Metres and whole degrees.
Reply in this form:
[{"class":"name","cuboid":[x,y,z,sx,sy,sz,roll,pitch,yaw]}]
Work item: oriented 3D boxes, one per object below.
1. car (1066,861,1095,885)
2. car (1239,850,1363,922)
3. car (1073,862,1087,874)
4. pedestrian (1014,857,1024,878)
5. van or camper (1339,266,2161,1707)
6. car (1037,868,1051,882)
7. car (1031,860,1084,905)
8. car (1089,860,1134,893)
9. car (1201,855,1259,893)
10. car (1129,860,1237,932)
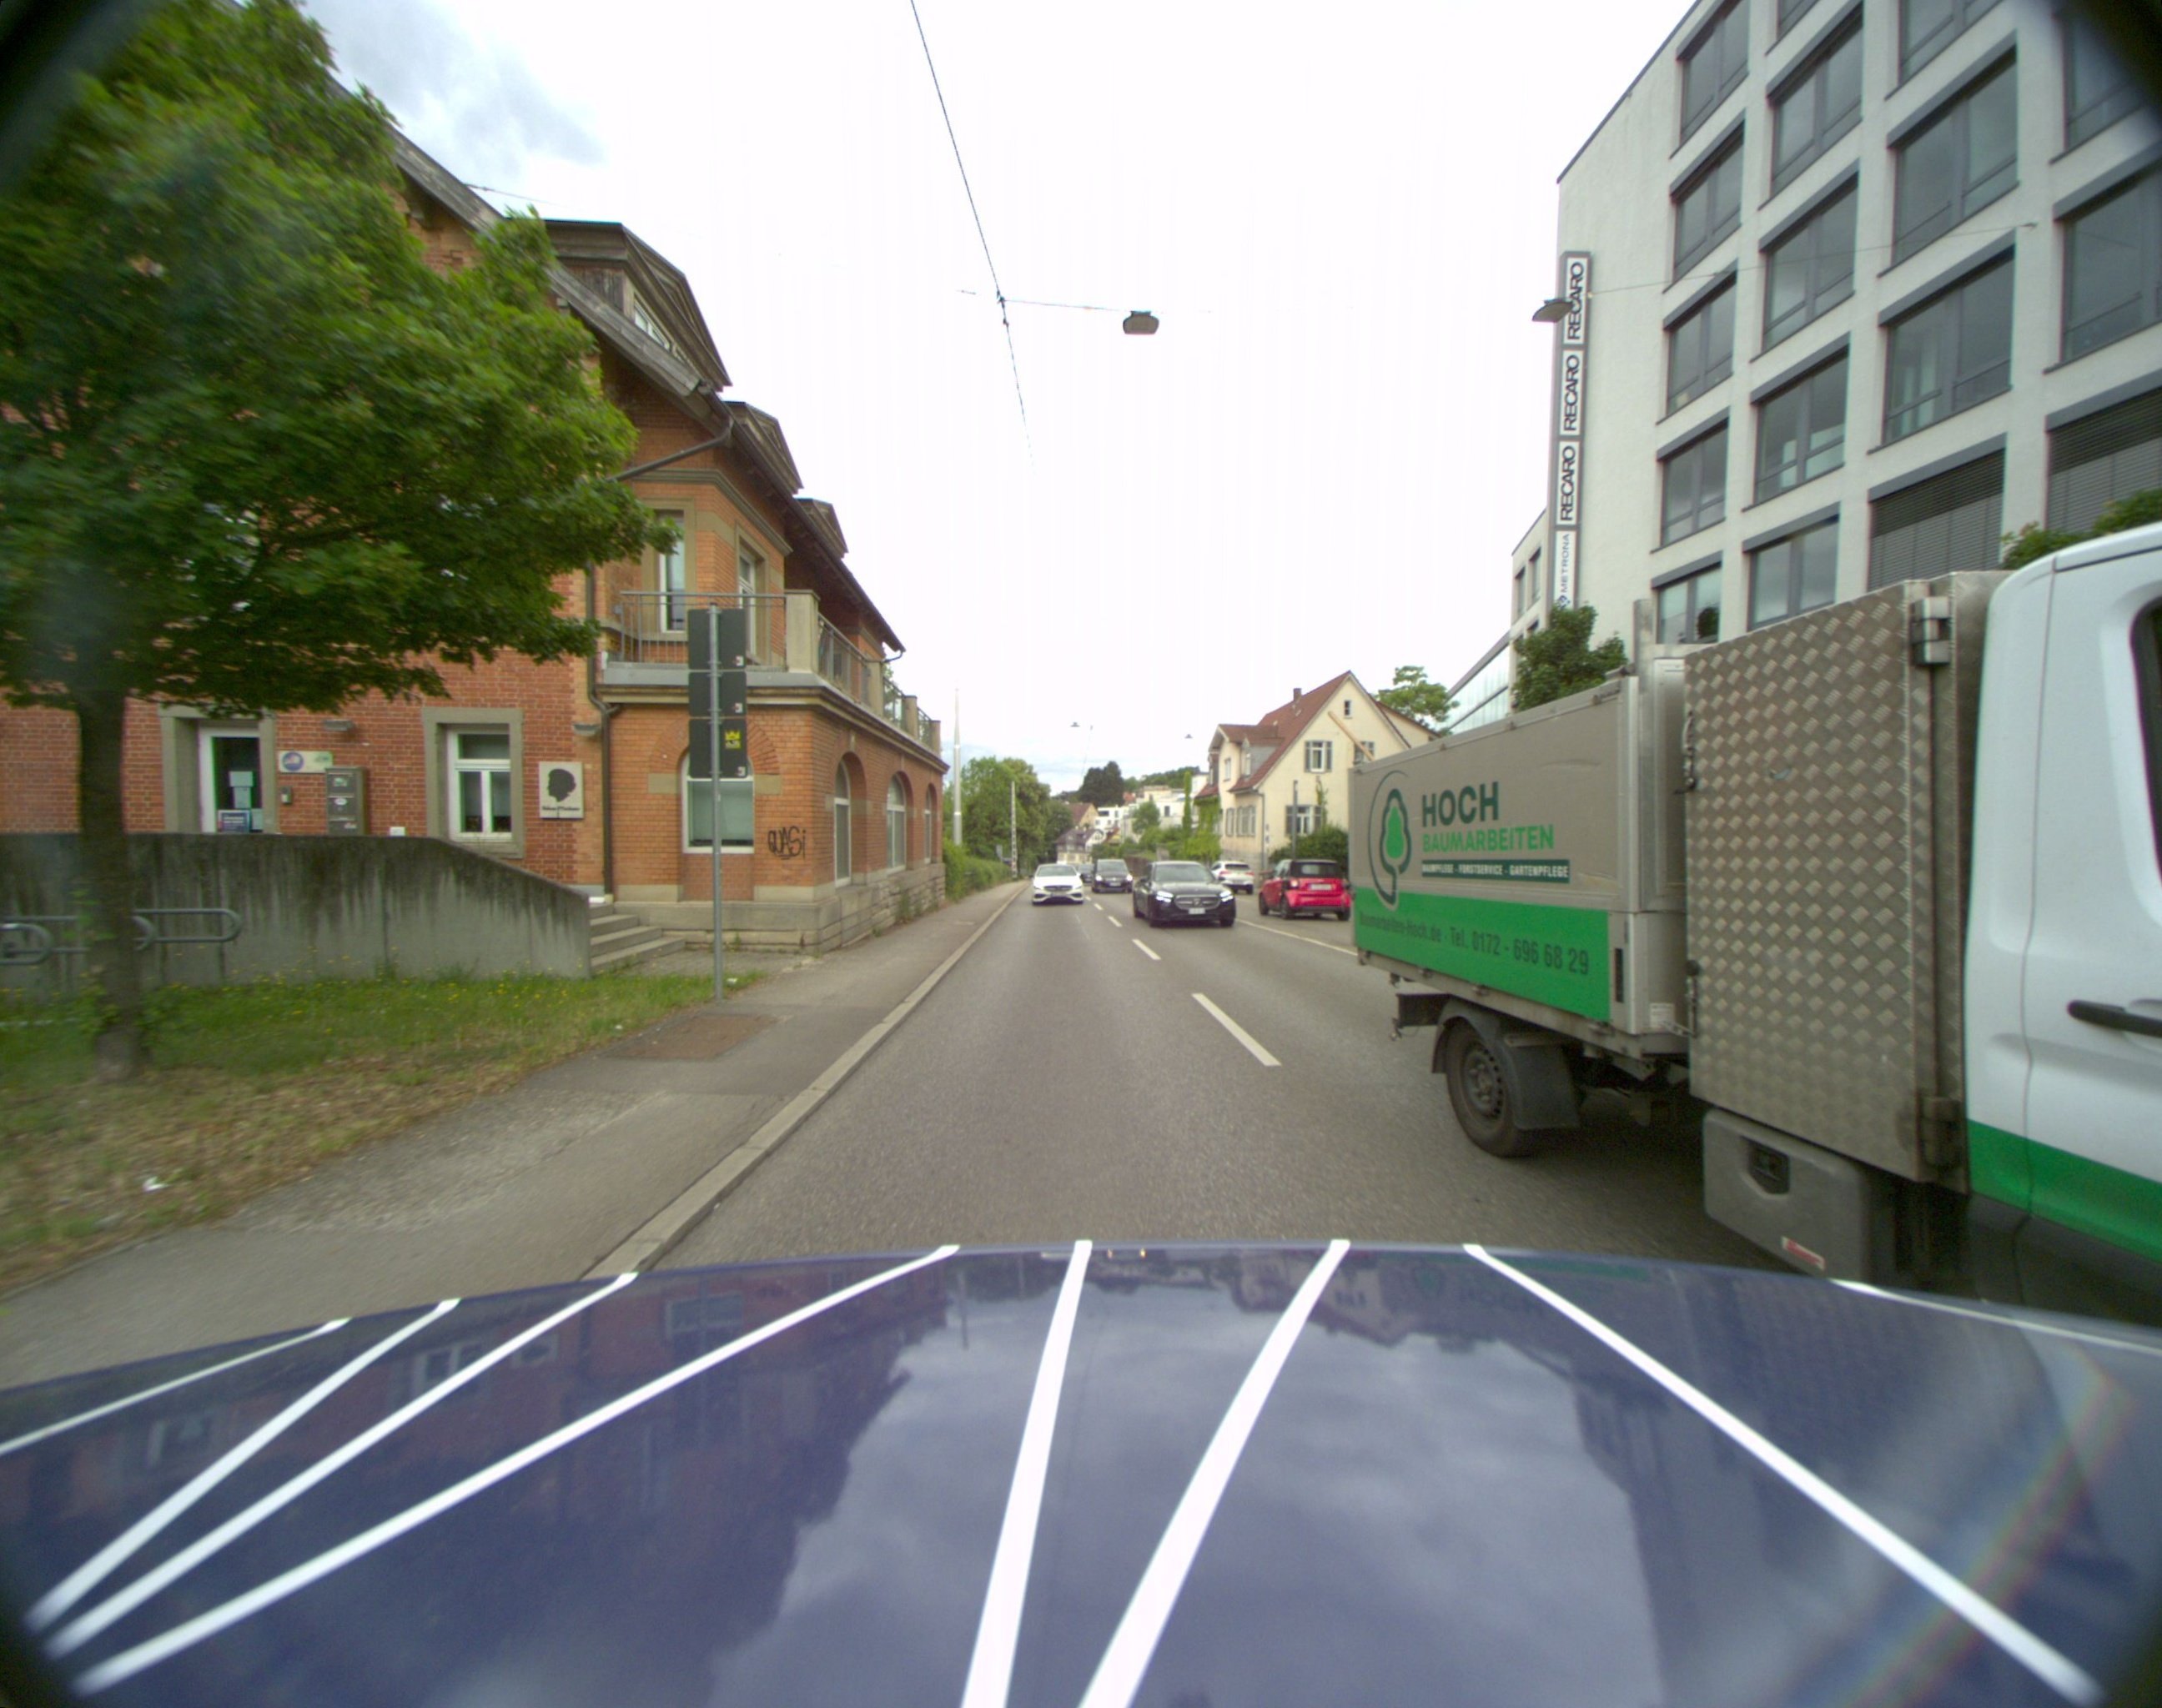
[{"class":"car","cuboid":[-0.089,1.287,52.676,1.878,1.521,3.999,-1,-1,-2]},{"class":"car","cuboid":[5.784,0.780,20.586,1.875,1.692,4.428,2,0,-2]},{"class":"car","cuboid":[-0.125,1.763,94.150,1.681,1.426,3.713,0,0,-1]},{"class":"pedestrian","cuboid":[-5.644,1.191,68.987,0.814,1.873,0.949,1,-1,2]},{"class":"van or camper","cuboid":[2.961,0.310,1.978,2.349,2.647,5.962,-2,2,-2]},{"class":"car","cuboid":[-4.891,2.728,100.577,1.713,1.680,3.791,0,1,-4]},{"class":"car","cuboid":[-0.868,0.979,27.692,1.809,1.521,3.999,0,-1,-2]},{"class":"car","cuboid":[1.416,1.059,37.120,1.878,1.521,3.999,-1,-1,-2]},{"class":"car","cuboid":[7.610,0.963,39.331,1.875,1.779,4.653,2,0,-2]},{"class":"car","cuboid":[2.314,0.913,18.375,1.878,1.521,4.335,-1,-1,-2]}]
